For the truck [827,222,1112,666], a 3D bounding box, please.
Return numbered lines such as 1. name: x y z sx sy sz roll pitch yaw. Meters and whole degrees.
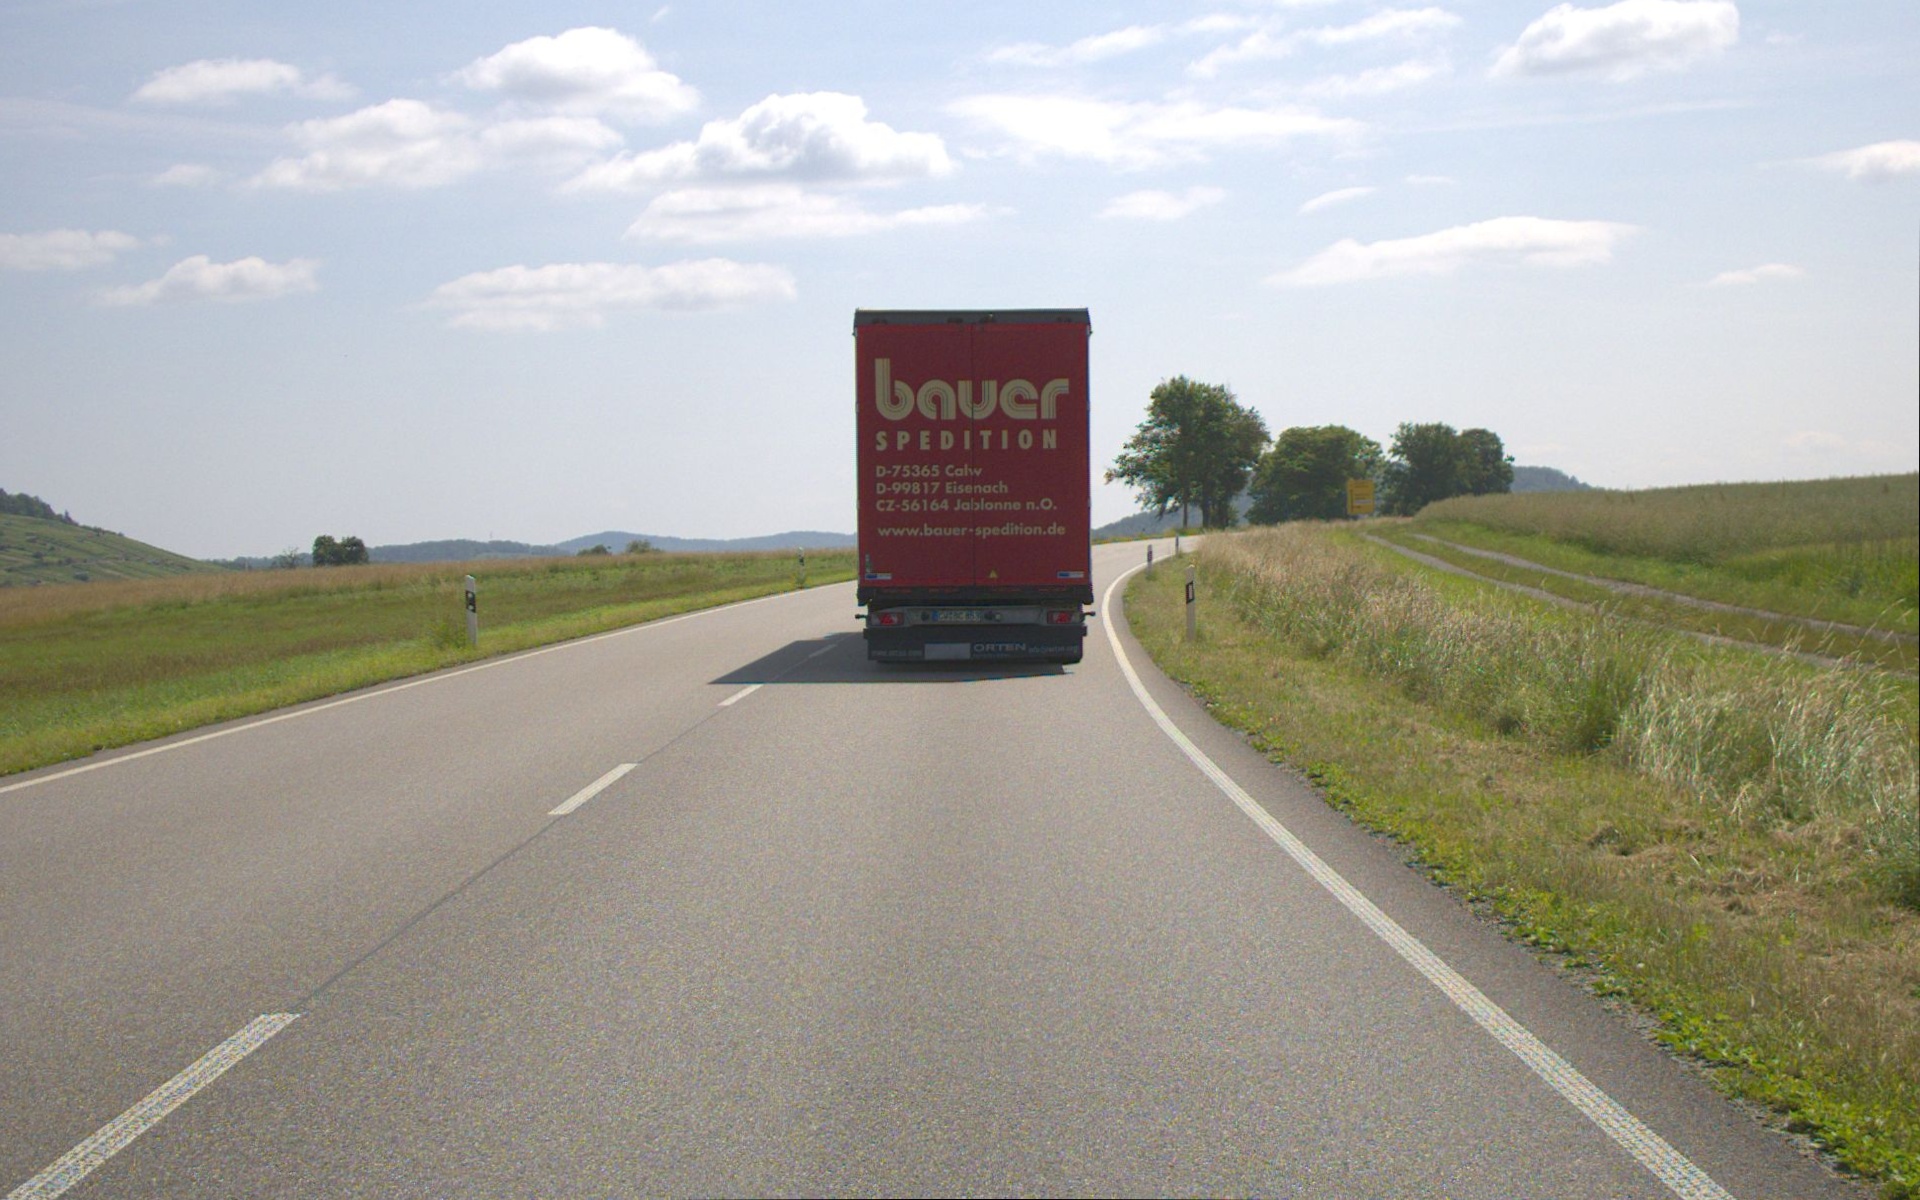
1. truck: 0.220 -1.761 41.364 2.975 4.697 9.366 1 1 1
